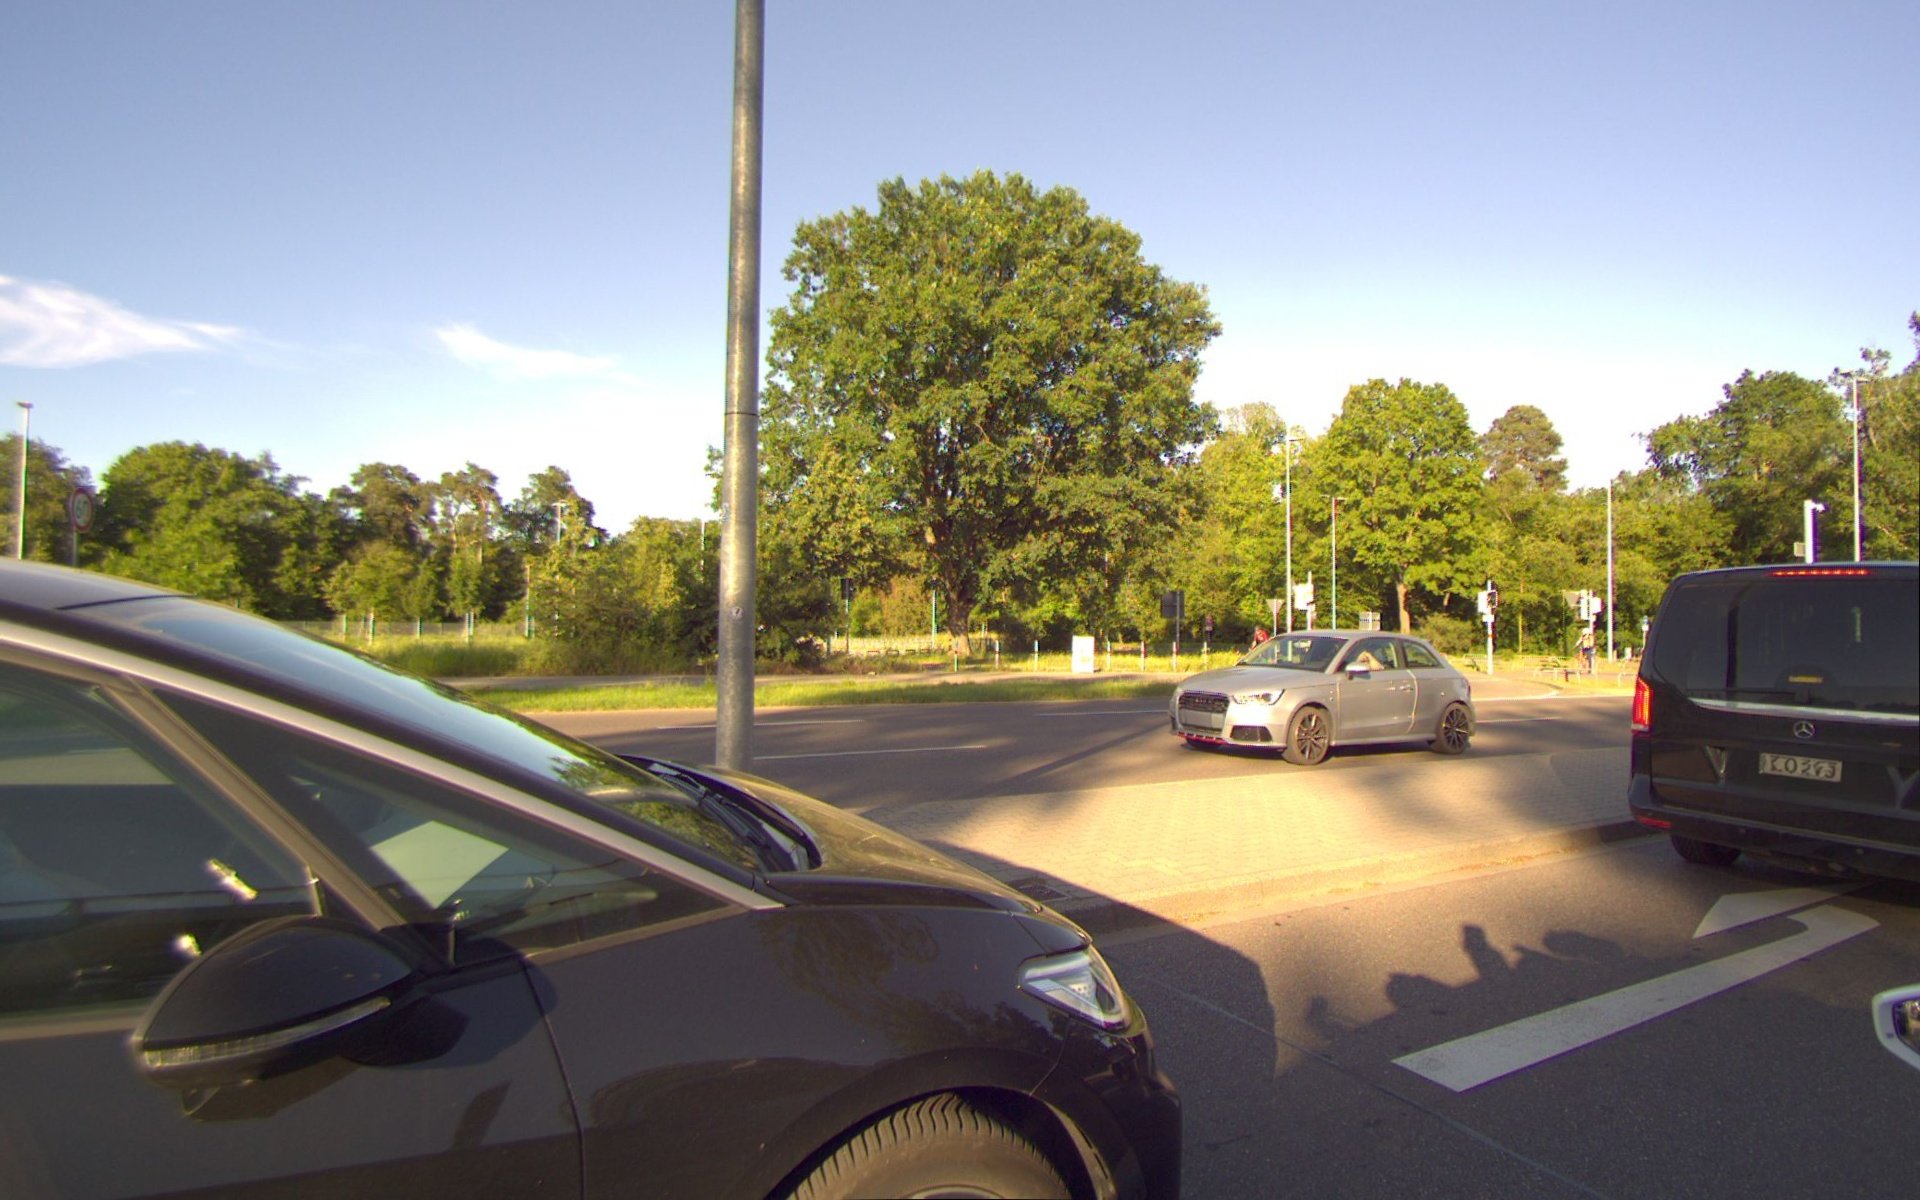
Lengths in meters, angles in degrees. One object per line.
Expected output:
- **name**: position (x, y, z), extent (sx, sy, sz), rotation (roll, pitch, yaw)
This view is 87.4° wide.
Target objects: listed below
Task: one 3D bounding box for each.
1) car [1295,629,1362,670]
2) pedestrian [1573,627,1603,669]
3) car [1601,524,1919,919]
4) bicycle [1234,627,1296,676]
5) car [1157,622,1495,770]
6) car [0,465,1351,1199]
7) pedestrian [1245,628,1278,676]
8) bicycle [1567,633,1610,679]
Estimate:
- **car**: position (16.993, 2.245, 46.505), extent (1.959, 1.639, 4.002), rotation (2, 0, 7)
- **pedestrian**: position (24.898, 1.899, 39.812), extent (0.780, 1.647, 0.692), rotation (2, 0, -30)
- **car**: position (6.411, 0.635, 6.435), extent (4.816, 1.881, 1.898), rotation (2, 0, -31)
- **bicycle**: position (10.178, 1.712, 33.552), extent (1.996, 1.571, 0.748), rotation (2, 0, -27)
- **car**: position (4.278, 1.035, 11.618), extent (3.798, 1.414, 1.592), rotation (2, 0, -30)
- **car**: position (-1.472, 0.645, 1.588), extent (3.955, 1.557, 1.868), rotation (2, 0, -31)
- **pedestrian**: position (10.043, 1.727, 33.468), extent (0.664, 1.564, 0.737), rotation (2, 0, -27)
- **bicycle**: position (24.936, 2.223, 39.849), extent (1.972, 1.773, 0.611), rotation (2, 0, -32)
